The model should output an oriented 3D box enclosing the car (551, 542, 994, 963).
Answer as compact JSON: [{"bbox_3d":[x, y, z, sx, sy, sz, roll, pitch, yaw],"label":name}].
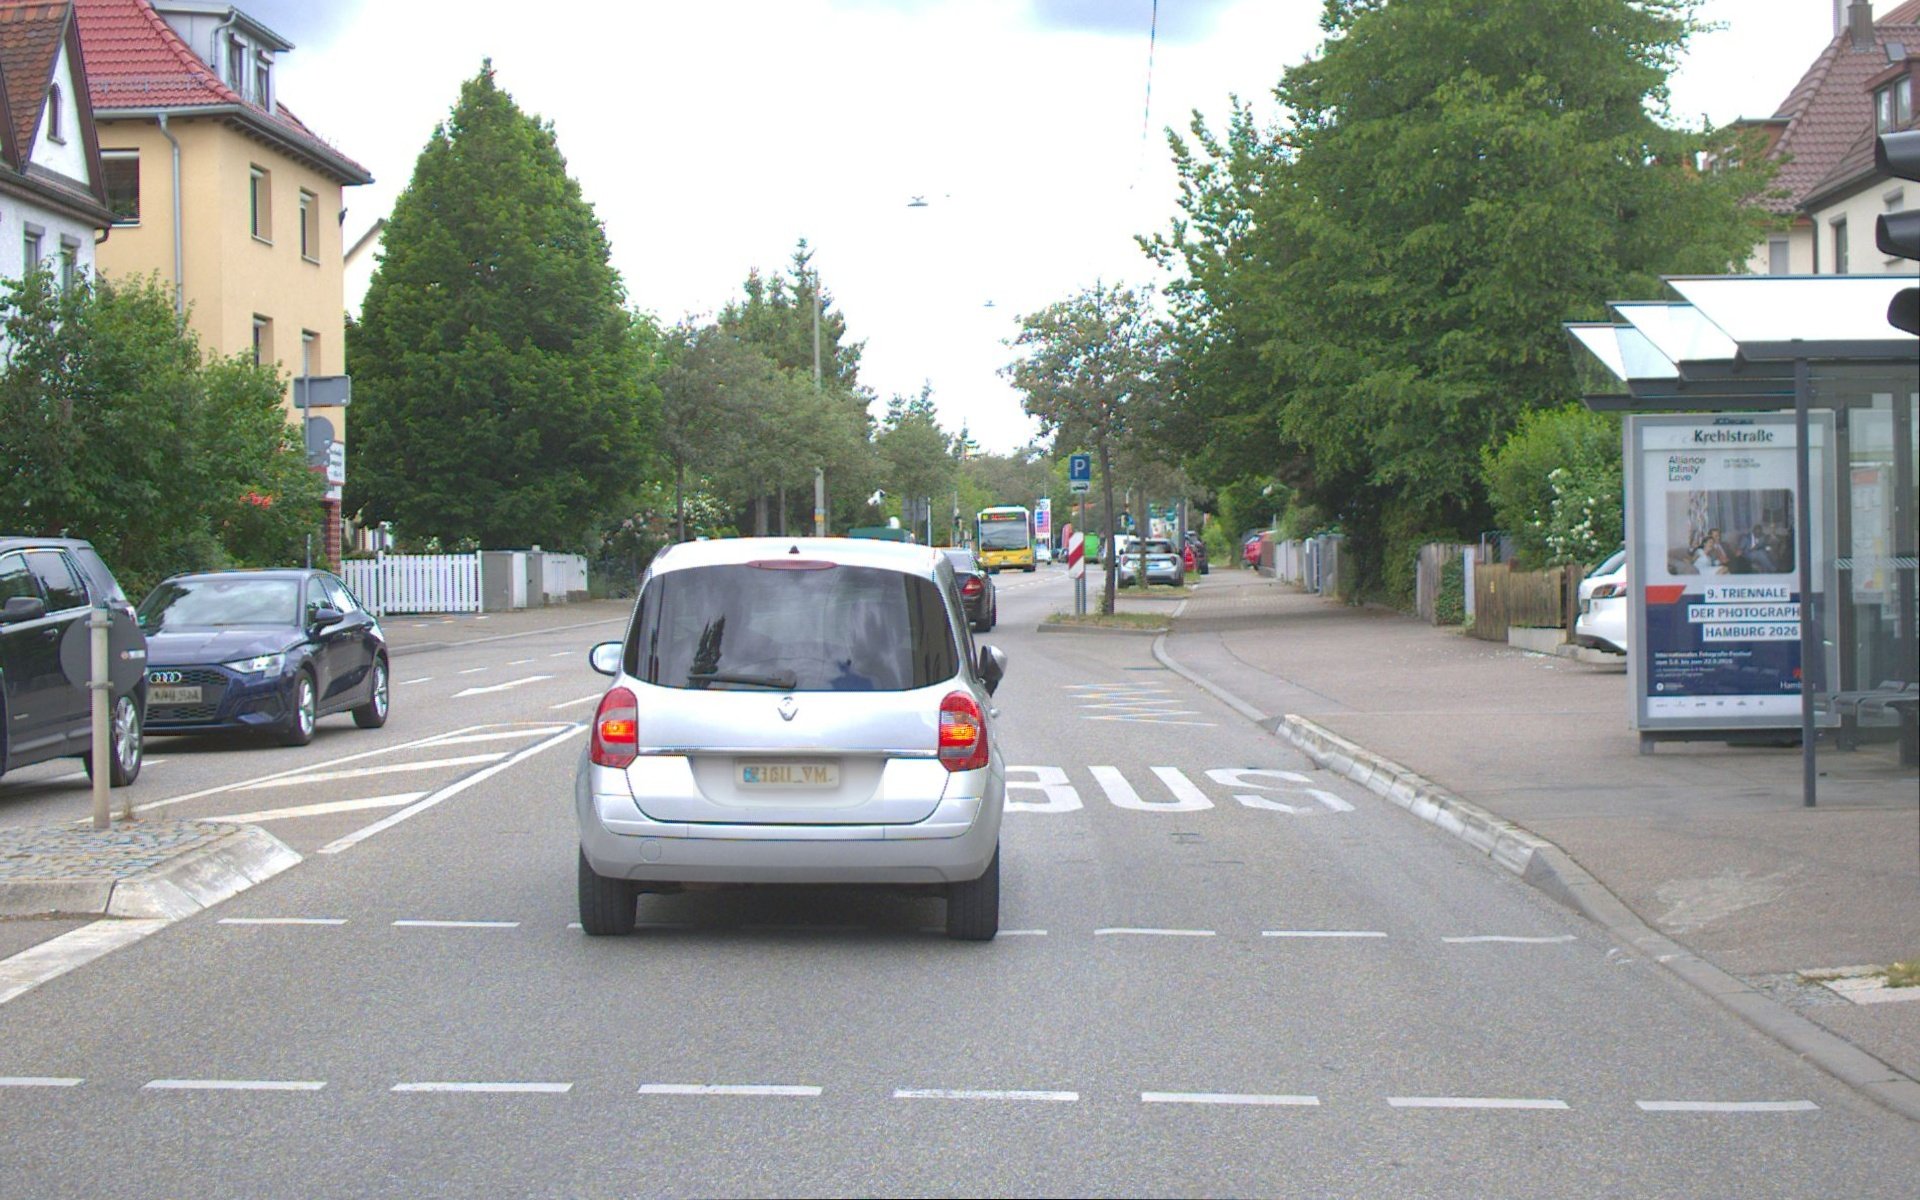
[{"bbox_3d":[-0.797,0.577,14.809,1.630,1.551,4.000,1,0,-3],"label":"car"}]

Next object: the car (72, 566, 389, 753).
[{"bbox_3d":[-5.949,0.471,28.488,1.564,1.415,4.130,-1,0,3],"label":"car"}]

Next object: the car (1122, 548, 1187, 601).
[{"bbox_3d":[5.270,-0.674,92.780,1.650,1.378,3.999,0,0,5],"label":"car"}]

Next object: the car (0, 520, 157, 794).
[{"bbox_3d":[-6.541,0.380,21.340,1.758,1.629,4.594,-3,-1,3],"label":"car"}]

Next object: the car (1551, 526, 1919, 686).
[{"bbox_3d":[8.533,0.044,35.844,4.420,1.483,1.865,-2,-1,3],"label":"car"}]

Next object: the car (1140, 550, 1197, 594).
[{"bbox_3d":[6.802,-0.927,111.868,1.663,1.388,3.667,-1,1,6],"label":"car"}]

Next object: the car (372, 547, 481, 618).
[{"bbox_3d":[-12.735,-0.450,82.334,1.806,1.559,4.618,-3,1,0],"label":"car"}]

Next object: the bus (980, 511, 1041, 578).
[{"bbox_3d":[2.519,-2.692,167.577,2.632,3.075,12.069,-2,1,2],"label":"bus"}]

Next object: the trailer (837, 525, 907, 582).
[{"bbox_3d":[-3.382,-1.761,133.241,2.312,2.079,5.872,1,0,2],"label":"trailer"}]

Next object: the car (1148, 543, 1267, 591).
[{"bbox_3d":[8.982,-1.205,124.913,3.986,1.491,1.810,-4,0,-4],"label":"car"}]

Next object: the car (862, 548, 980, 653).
[{"bbox_3d":[-0.684,0.000,57.544,1.829,1.670,3.575,-1,0,-3],"label":"car"}]
